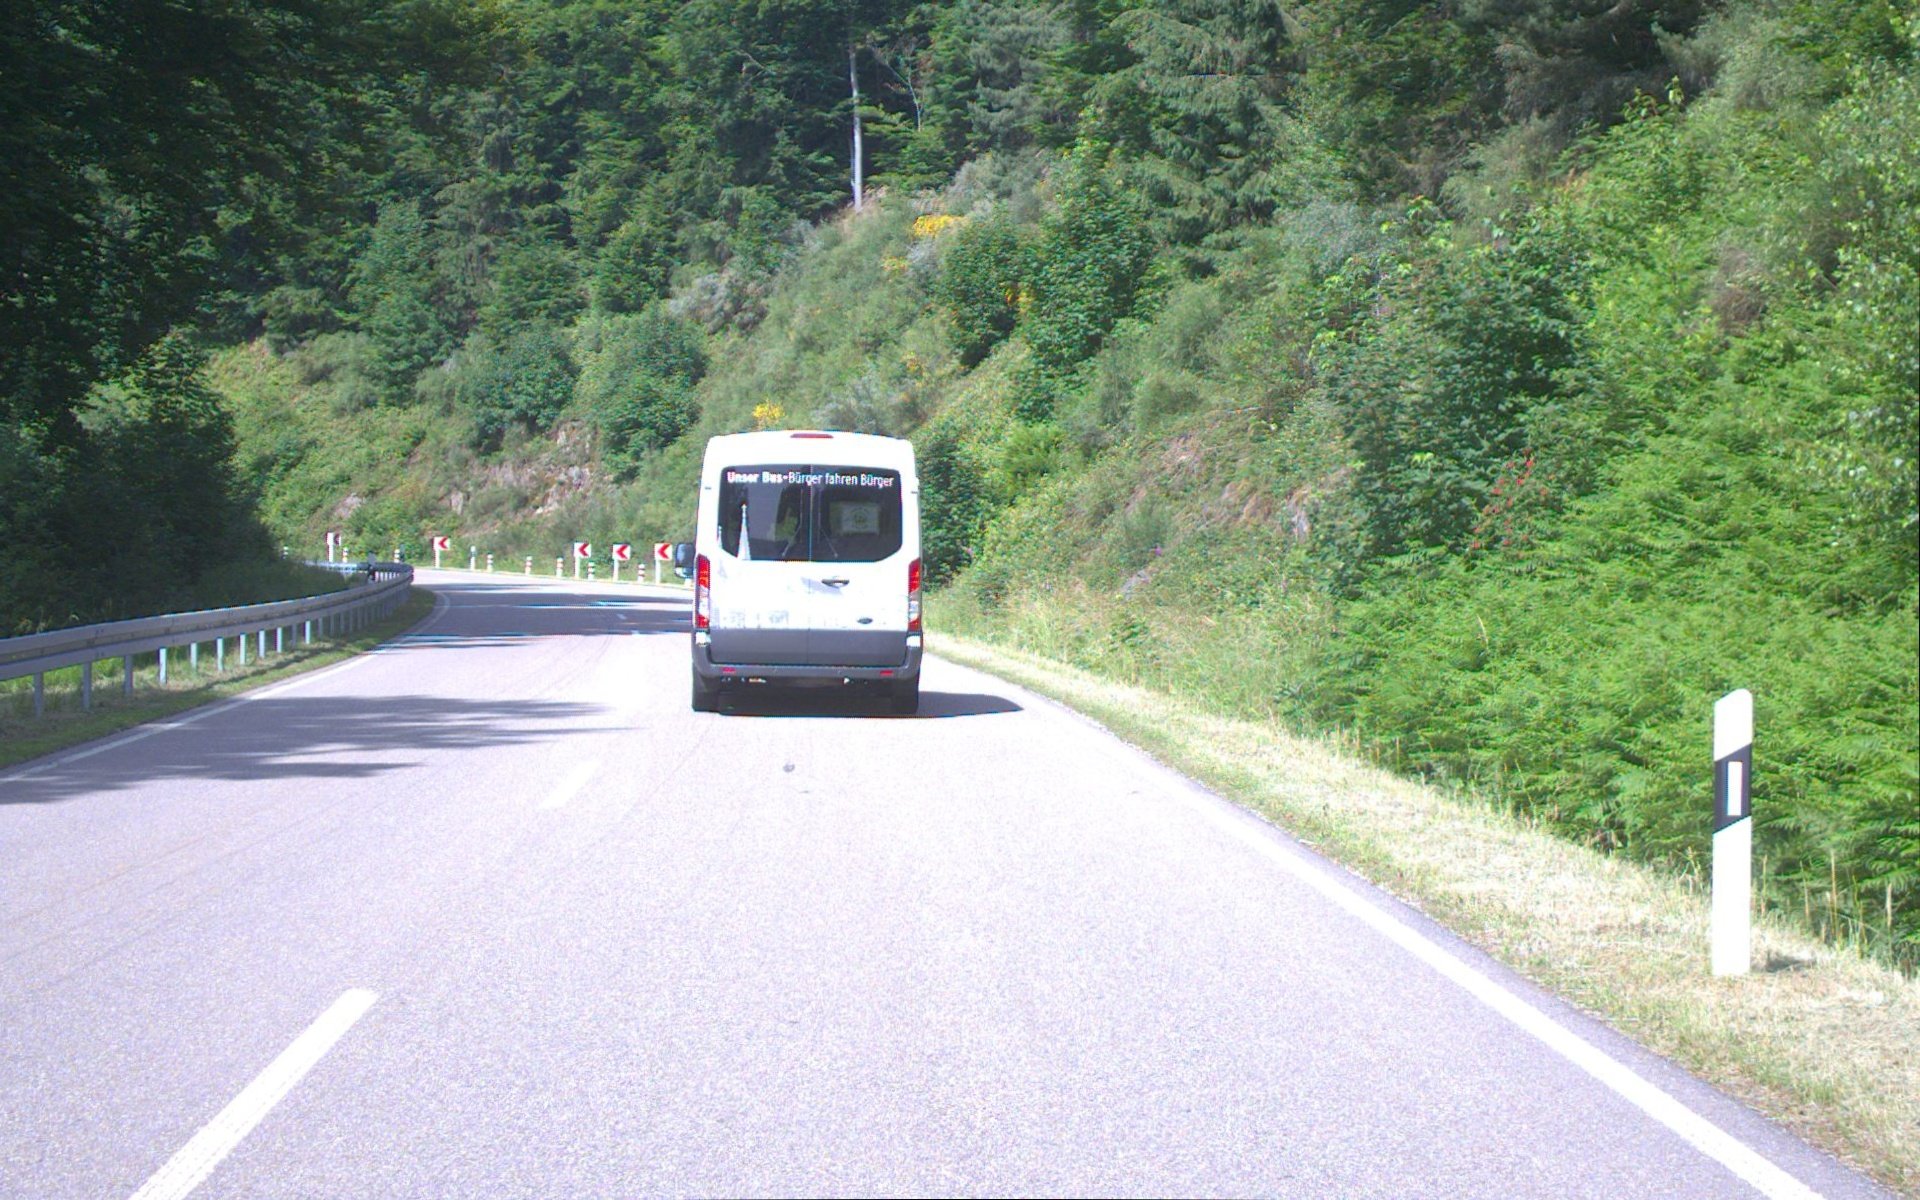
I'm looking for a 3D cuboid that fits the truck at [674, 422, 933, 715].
[{"bbox_3d":[-1.527,-0.308,31.608,2.083,2.451,4.876,1,1,-6],"label":"truck"}]
